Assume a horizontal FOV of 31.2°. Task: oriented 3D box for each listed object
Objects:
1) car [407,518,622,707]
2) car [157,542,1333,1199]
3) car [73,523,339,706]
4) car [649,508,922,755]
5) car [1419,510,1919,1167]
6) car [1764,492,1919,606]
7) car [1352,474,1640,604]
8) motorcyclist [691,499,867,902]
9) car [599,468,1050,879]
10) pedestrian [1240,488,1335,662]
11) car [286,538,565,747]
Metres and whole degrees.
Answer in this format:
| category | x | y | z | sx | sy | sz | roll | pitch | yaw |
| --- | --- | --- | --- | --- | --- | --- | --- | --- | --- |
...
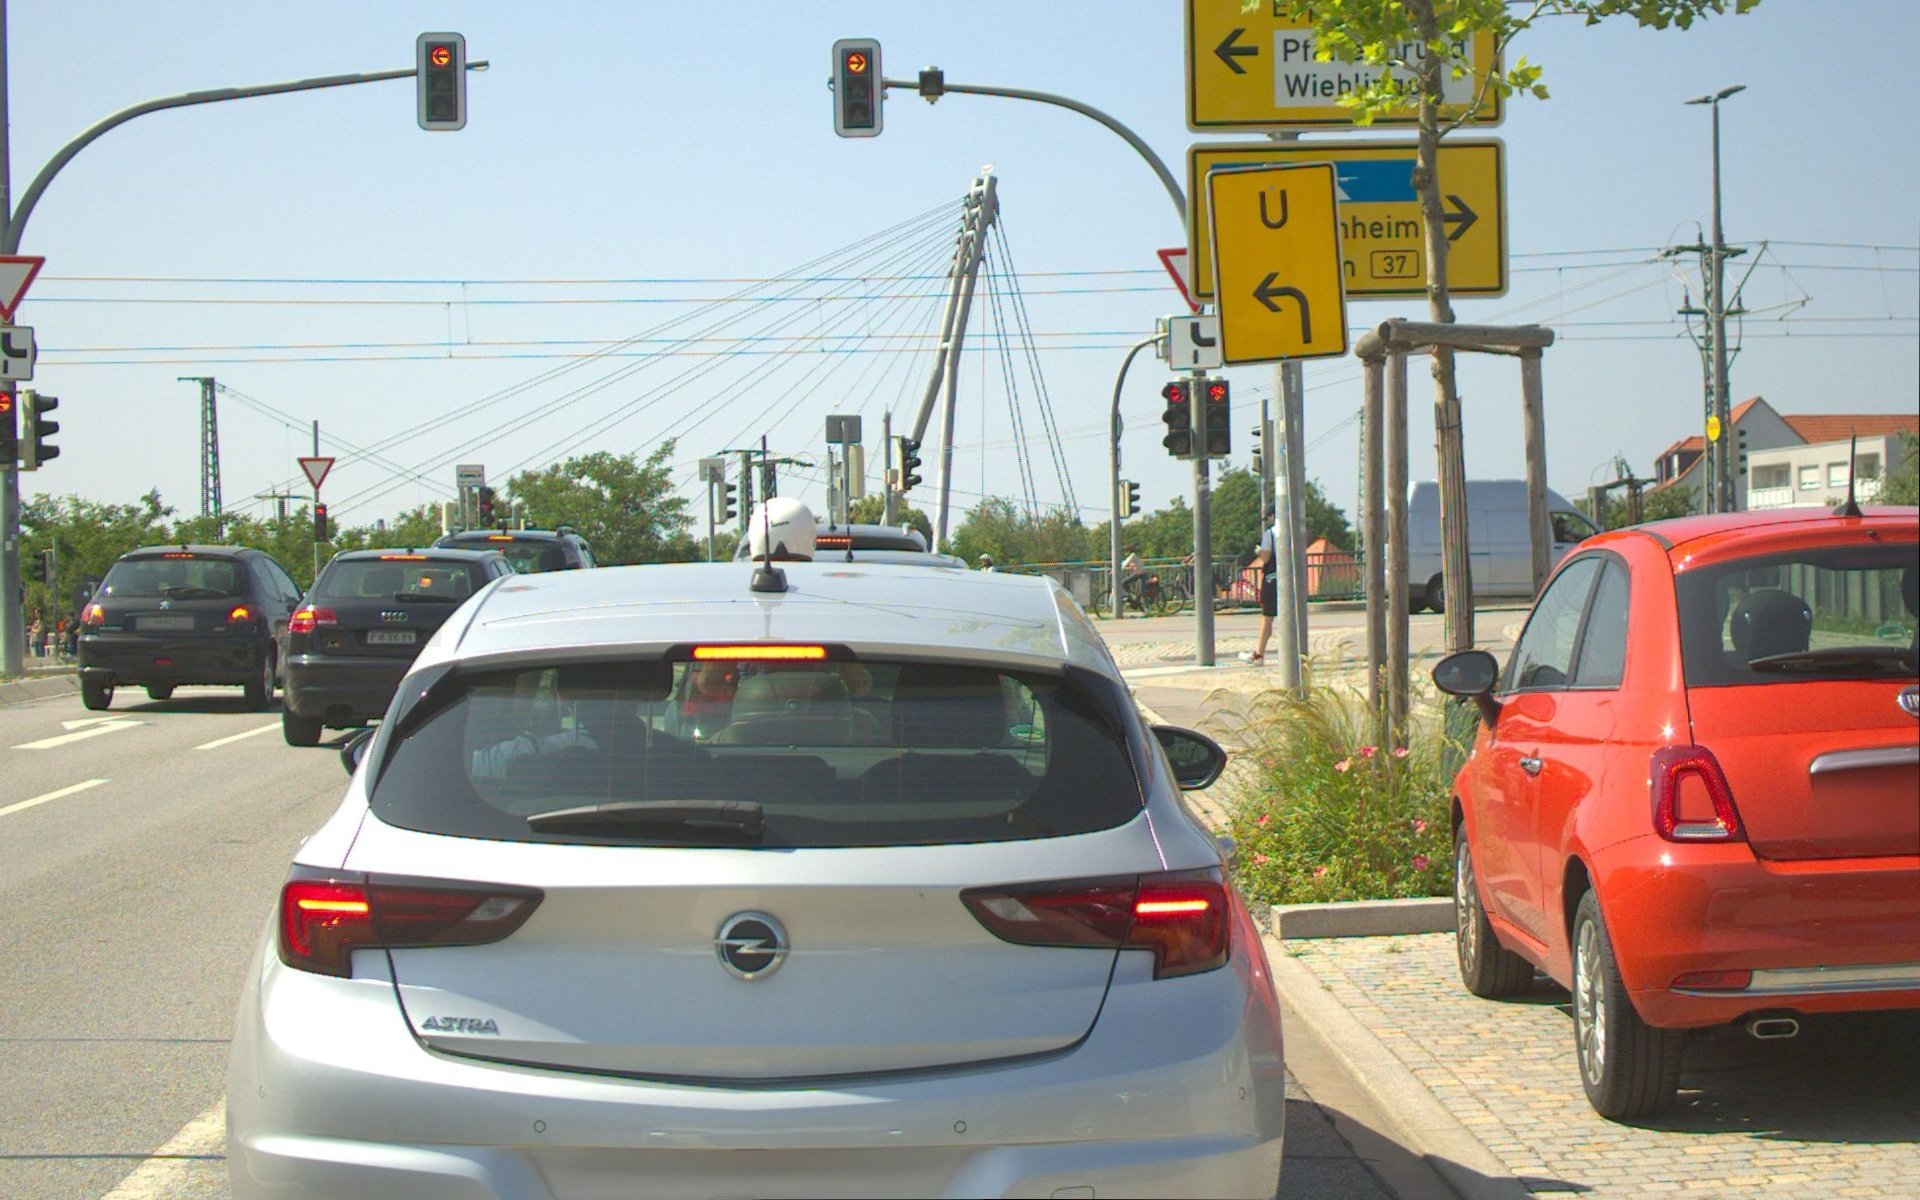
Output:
| category | x | y | z | sx | sy | sz | roll | pitch | yaw |
| --- | --- | --- | --- | --- | --- | --- | --- | --- | --- |
| car | -4.037 | 0.091 | 31.614 | 1.649 | 1.610 | 3.821 | 1 | 1 | -3 |
| car | -0.425 | 0.640 | 7.140 | 1.742 | 1.473 | 4.001 | 1 | 1 | -3 |
| car | -6.749 | 0.104 | 31.098 | 1.597 | 1.542 | 3.762 | 1 | 1 | -1 |
| car | -1.150 | 0.148 | 24.154 | 1.724 | 1.558 | 4.000 | 1 | 2 | 0 |
| car | 2.341 | 0.519 | 9.736 | 1.610 | 1.491 | 3.352 | -2 | 1 | 1 |
| car | 17.273 | -0.903 | 62.607 | 4.701 | 2.007 | 2.001 | 1 | 0 | -14 |
| car | 9.984 | -1.118 | 64.167 | 4.998 | 2.368 | 1.784 | 0 | 0 | -10 |
| motorcyclist | -0.635 | 0.345 | 12.231 | 0.581 | 1.384 | 0.707 | 1 | 0 | -1 |
| car | -0.631 | 0.271 | 17.562 | 1.993 | 1.814 | 4.402 | 1 | 2 | -1 |
| pedestrian | 3.482 | -0.269 | 36.561 | 0.648 | 1.830 | 0.796 | -1 | 1 | 38 |
| car | -3.920 | 0.276 | 25.712 | 1.575 | 1.429 | 3.786 | 1 | 1 | -1 |
